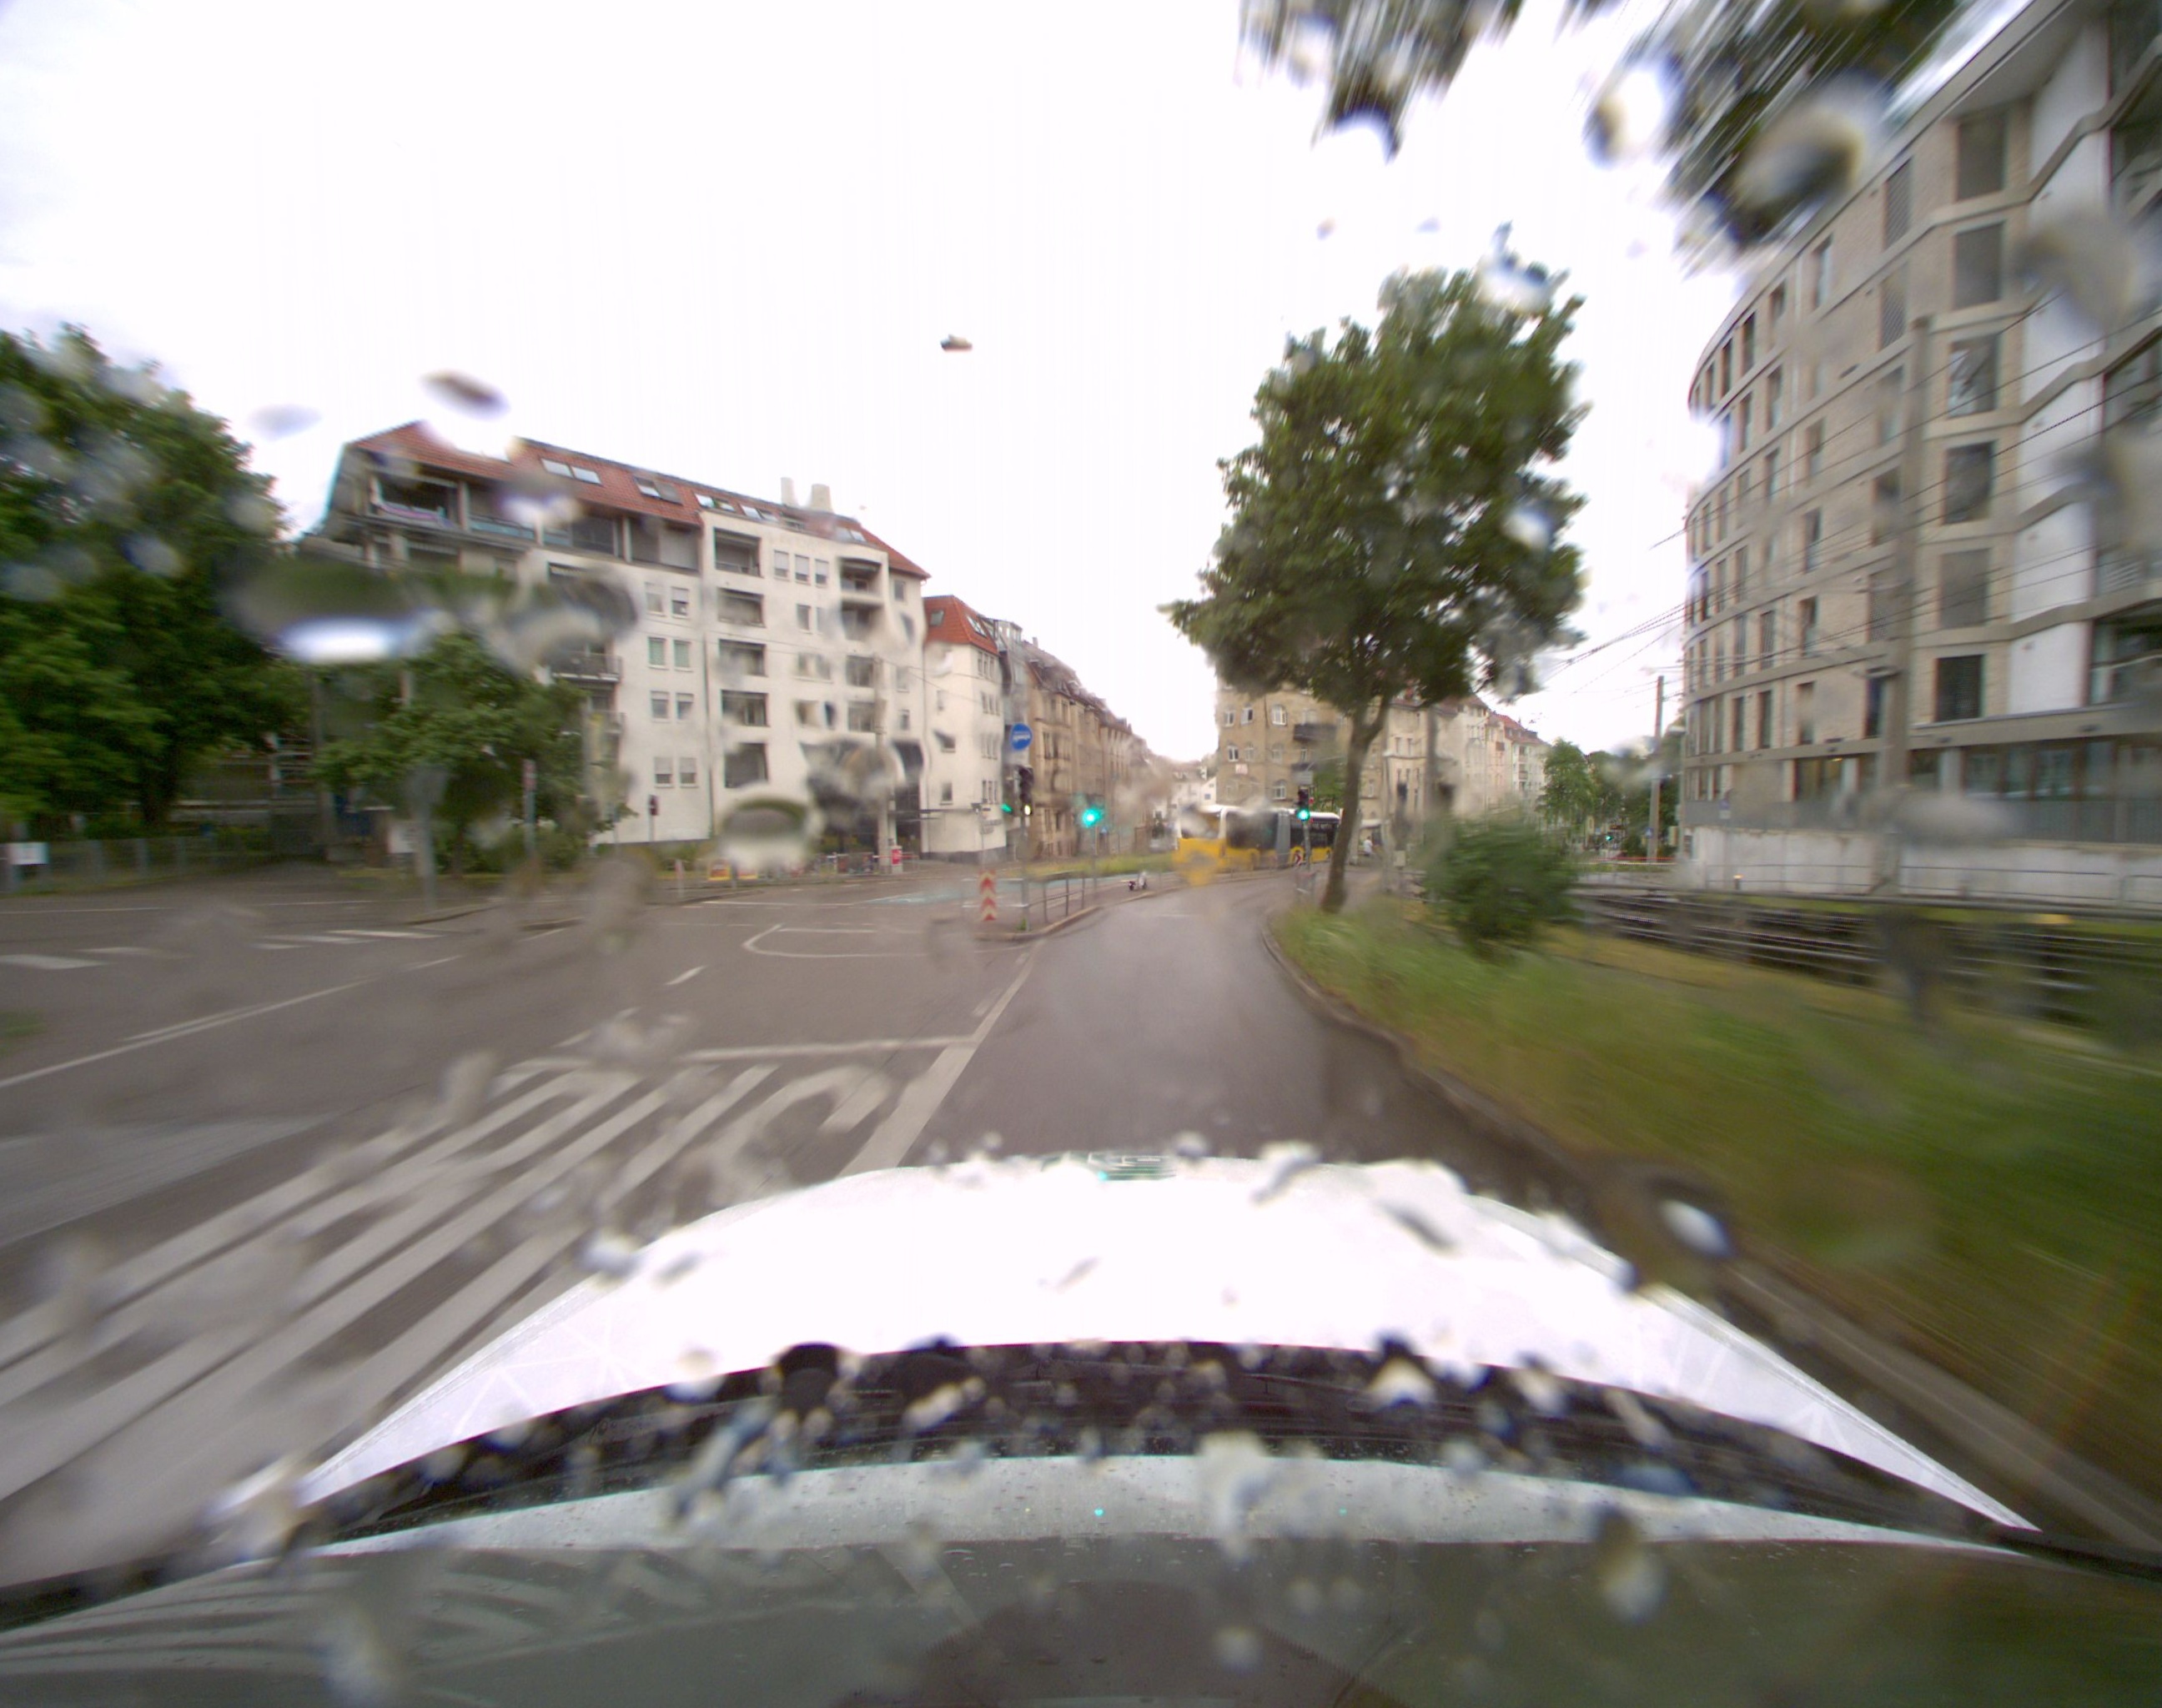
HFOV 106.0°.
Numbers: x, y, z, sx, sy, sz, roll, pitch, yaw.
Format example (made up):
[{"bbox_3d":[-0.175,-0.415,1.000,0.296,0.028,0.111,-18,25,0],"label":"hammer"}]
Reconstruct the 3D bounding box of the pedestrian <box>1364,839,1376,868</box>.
[{"bbox_3d":[17.923,-0.016,50.474,0.570,1.752,0.547,0,-1,33],"label":"pedestrian"}]

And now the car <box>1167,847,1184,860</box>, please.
[{"bbox_3d":[15.923,0.010,137.502,2.121,2.137,4.876,0,-1,15],"label":"car"}]

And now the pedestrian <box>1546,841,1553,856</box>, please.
[{"bbox_3d":[59.871,-0.730,104.109,0.511,1.838,0.766,-2,-2,43],"label":"pedestrian"}]

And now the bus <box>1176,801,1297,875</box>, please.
[{"bbox_3d":[8.347,-0.736,42.613,2.565,3.469,9.165,0,0,36],"label":"bus"}]

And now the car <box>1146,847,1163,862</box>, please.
[{"bbox_3d":[10.381,0.067,115.373,2.129,2.137,4.859,0,-1,2],"label":"car"}]

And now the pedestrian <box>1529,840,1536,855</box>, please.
[{"bbox_3d":[54.238,-0.753,97.779,0.556,1.850,0.602,-2,-2,43],"label":"pedestrian"}]

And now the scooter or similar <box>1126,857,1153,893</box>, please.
[{"bbox_3d":[1.896,0.674,26.363,0.429,1.113,1.613,1,0,20],"label":"scooter or similar"}]

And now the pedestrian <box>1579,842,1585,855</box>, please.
[{"bbox_3d":[69.393,-0.768,112.740,0.545,1.741,0.618,-2,-2,43],"label":"pedestrian"}]

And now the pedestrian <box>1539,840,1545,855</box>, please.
[{"bbox_3d":[57.451,-0.752,101.496,0.511,1.838,0.766,-2,-2,43],"label":"pedestrian"}]

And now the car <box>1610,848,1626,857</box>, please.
[{"bbox_3d":[104.324,-0.308,158.229,1.710,1.515,4.522,0,1,45],"label":"car"}]

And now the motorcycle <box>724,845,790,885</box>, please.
[{"bbox_3d":[-13.229,0.424,33.363,0.690,1.550,2.456,4,2,37],"label":"motorcycle"}]

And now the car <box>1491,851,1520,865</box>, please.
[{"bbox_3d":[56.057,0.524,107.478,4.840,1.732,1.975,1,-2,-44],"label":"car"}]
